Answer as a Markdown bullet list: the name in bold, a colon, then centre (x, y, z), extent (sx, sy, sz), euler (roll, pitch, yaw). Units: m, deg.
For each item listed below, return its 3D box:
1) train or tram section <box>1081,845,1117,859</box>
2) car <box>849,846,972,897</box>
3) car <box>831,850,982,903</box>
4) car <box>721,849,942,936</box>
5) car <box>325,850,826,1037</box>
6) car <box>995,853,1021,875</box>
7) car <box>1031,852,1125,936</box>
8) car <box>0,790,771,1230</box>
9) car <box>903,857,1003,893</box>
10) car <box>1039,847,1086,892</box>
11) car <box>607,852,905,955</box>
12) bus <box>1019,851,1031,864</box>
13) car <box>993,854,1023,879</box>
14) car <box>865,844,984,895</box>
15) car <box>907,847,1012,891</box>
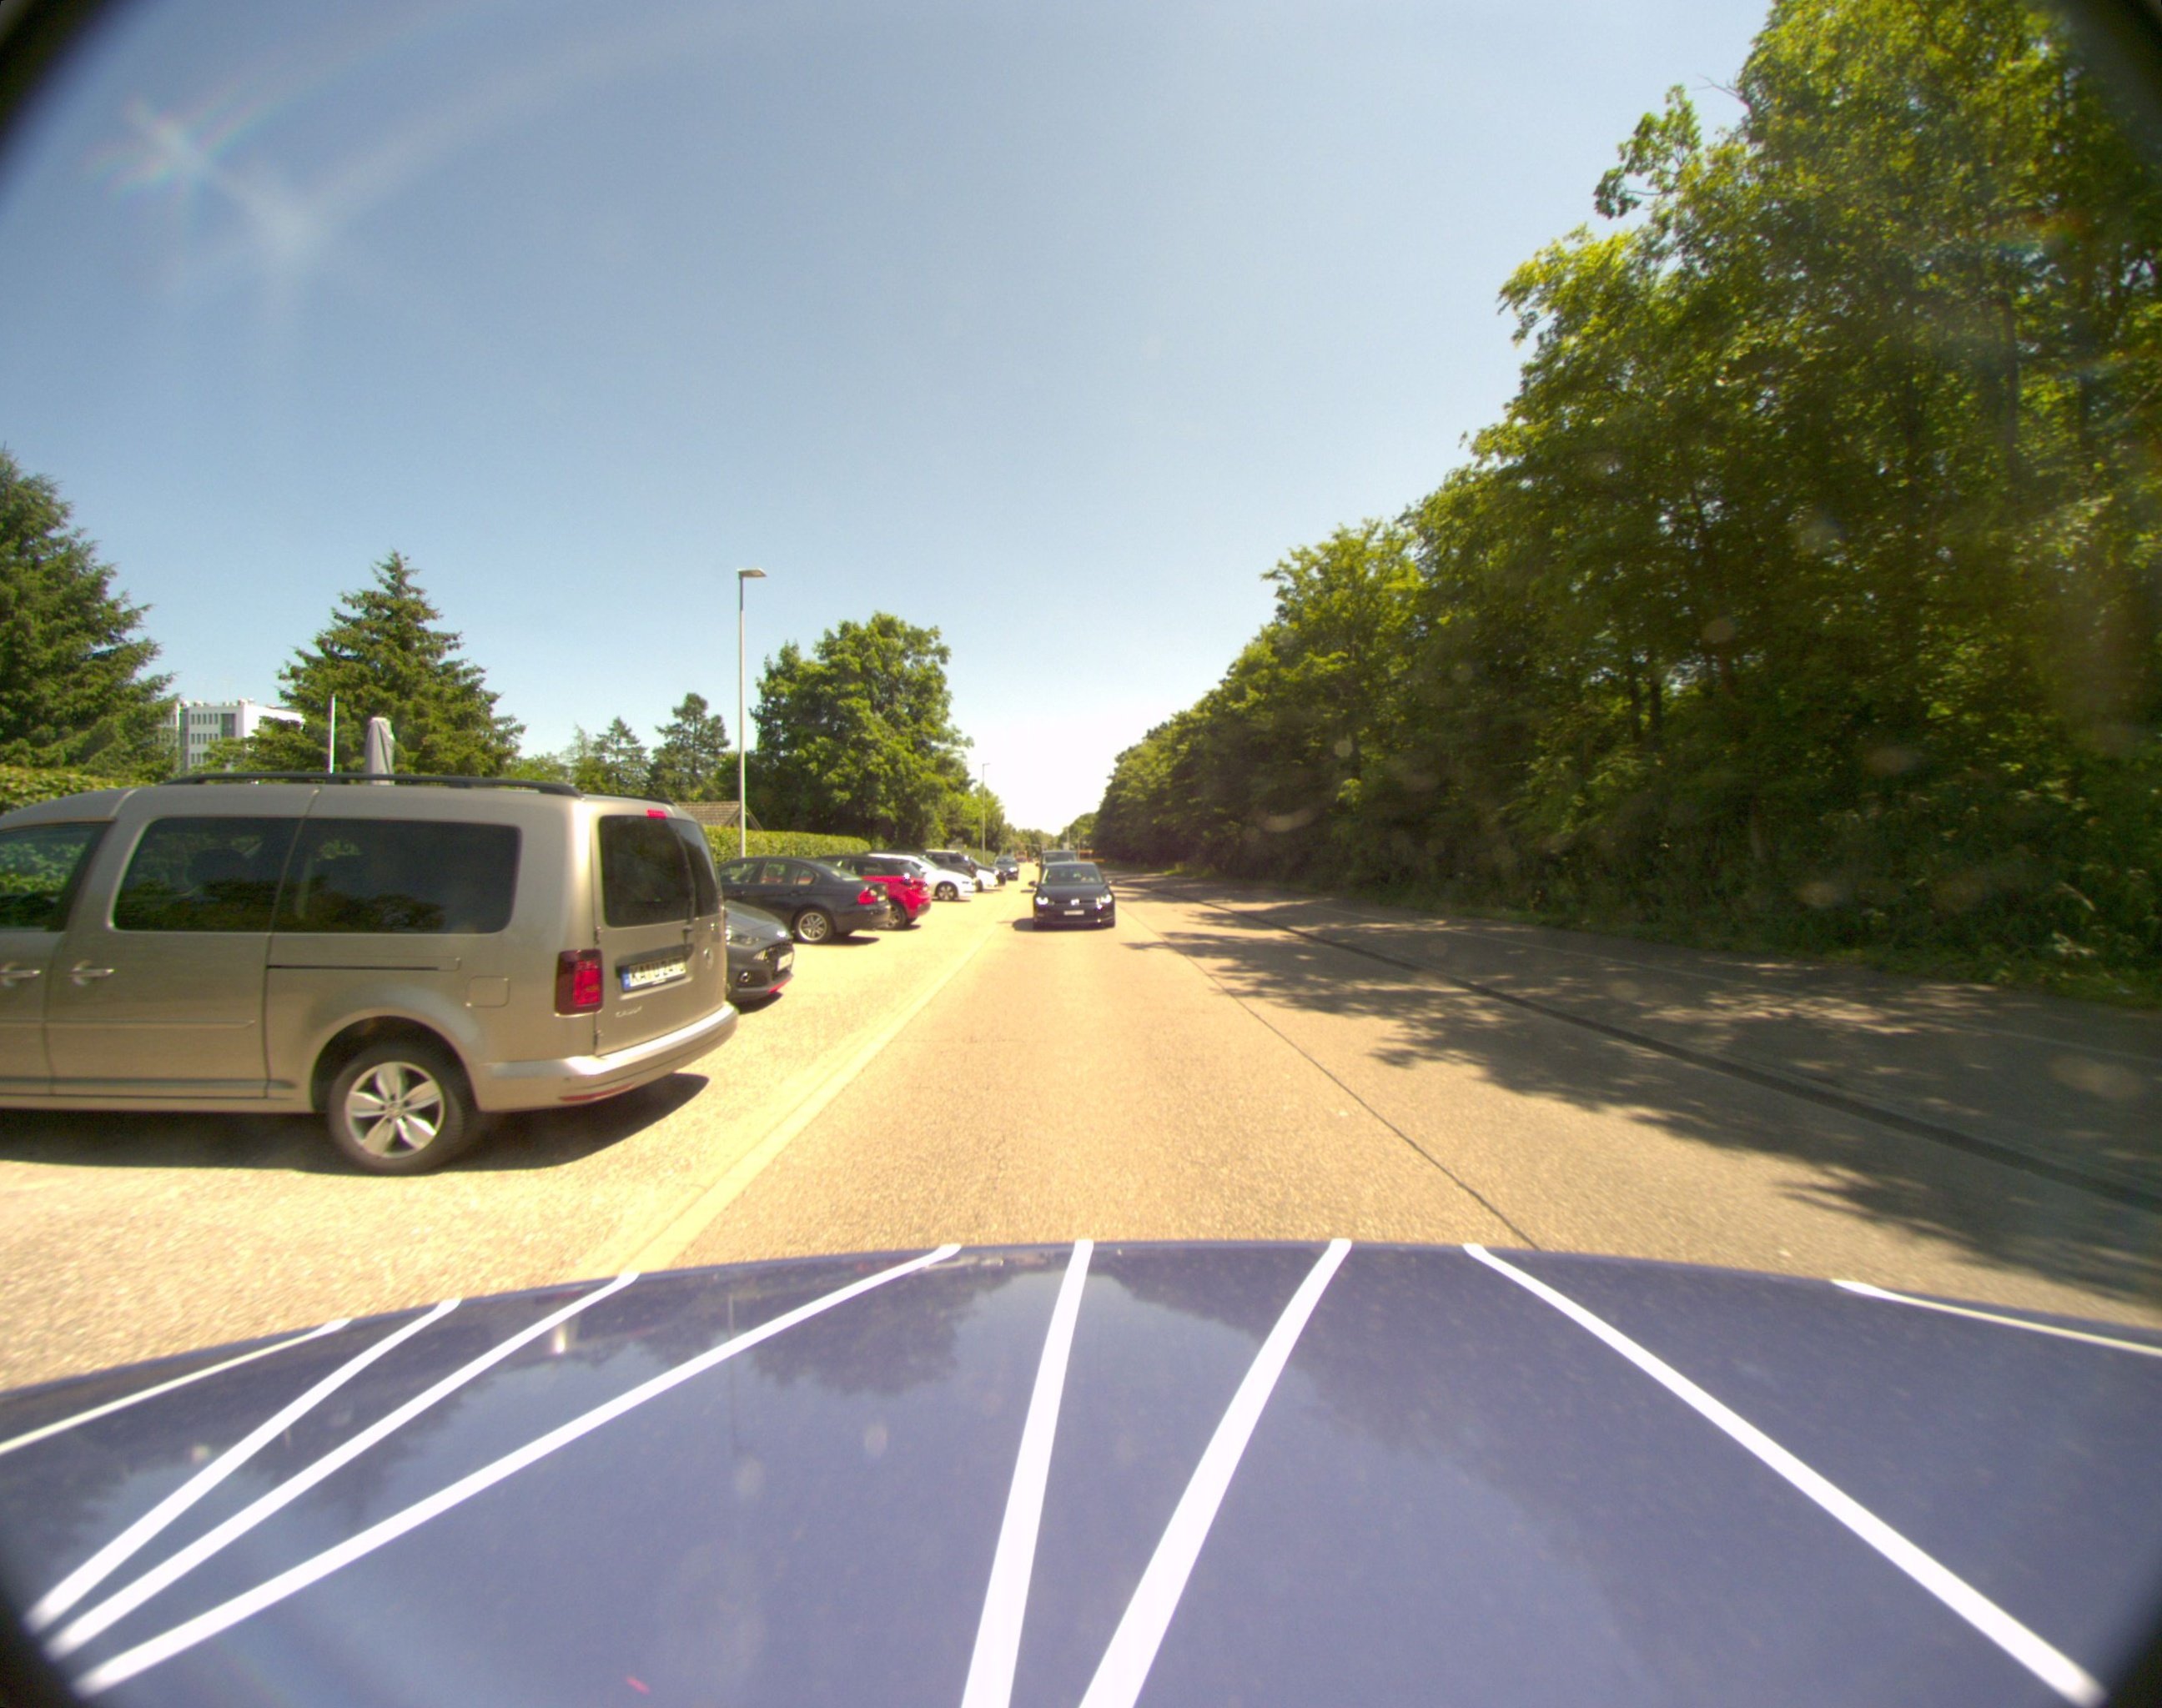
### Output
- **train or tram section**: centre (4.357, -0.455, 190.107), extent (2.656, 3.446, 10.824), euler (-1, 0, -38)
- **car**: centre (-6.123, 0.630, 27.632), extent (4.061, 1.539, 1.757), euler (4, 0, -4)
- **car**: centre (-5.704, 0.729, 25.343), extent (4.572, 1.430, 1.960), euler (4, 0, -5)
- **car**: centre (-5.057, 0.758, 15.843), extent (3.929, 1.470, 1.844), euler (4, 0, -1)
- **car**: centre (-4.586, 0.786, 7.432), extent (3.586, 1.493, 1.841), euler (2, 0, -5)
- **car**: centre (-5.468, 0.756, 57.162), extent (1.794, 1.594, 4.128), euler (1, -1, -4)
- **car**: centre (-0.164, 0.848, 17.872), extent (1.887, 1.667, 4.662), euler (-1, -1, -3)
- **car**: centre (-4.496, 0.654, 4.280), extent (4.632, 1.837, 1.996), euler (2, 0, 0)
- **car**: centre (-5.444, 0.882, 32.683), extent (4.007, 1.444, 1.831), euler (1, 0, -2)
- **car**: centre (-0.936, 0.687, 35.995), extent (2.002, 1.965, 4.448), euler (0, 0, -4)
- **car**: centre (-5.358, 0.802, 12.985), extent (4.215, 1.380, 1.840), euler (4, 0, -2)
- **bus**: centre (-15.068, 0.935, 205.504), extent (2.932, 3.248, 8.328), euler (0, 0, -2)
- **car**: centre (-4.744, 0.787, 49.987), extent (1.794, 1.473, 4.663), euler (4, 0, -4)
- **car**: centre (-6.157, 0.608, 30.242), extent (4.269, 1.688, 1.853), euler (4, 0, -1)
- **car**: centre (-5.584, 0.672, 35.369), extent (4.482, 1.694, 1.913), euler (4, 0, -2)
